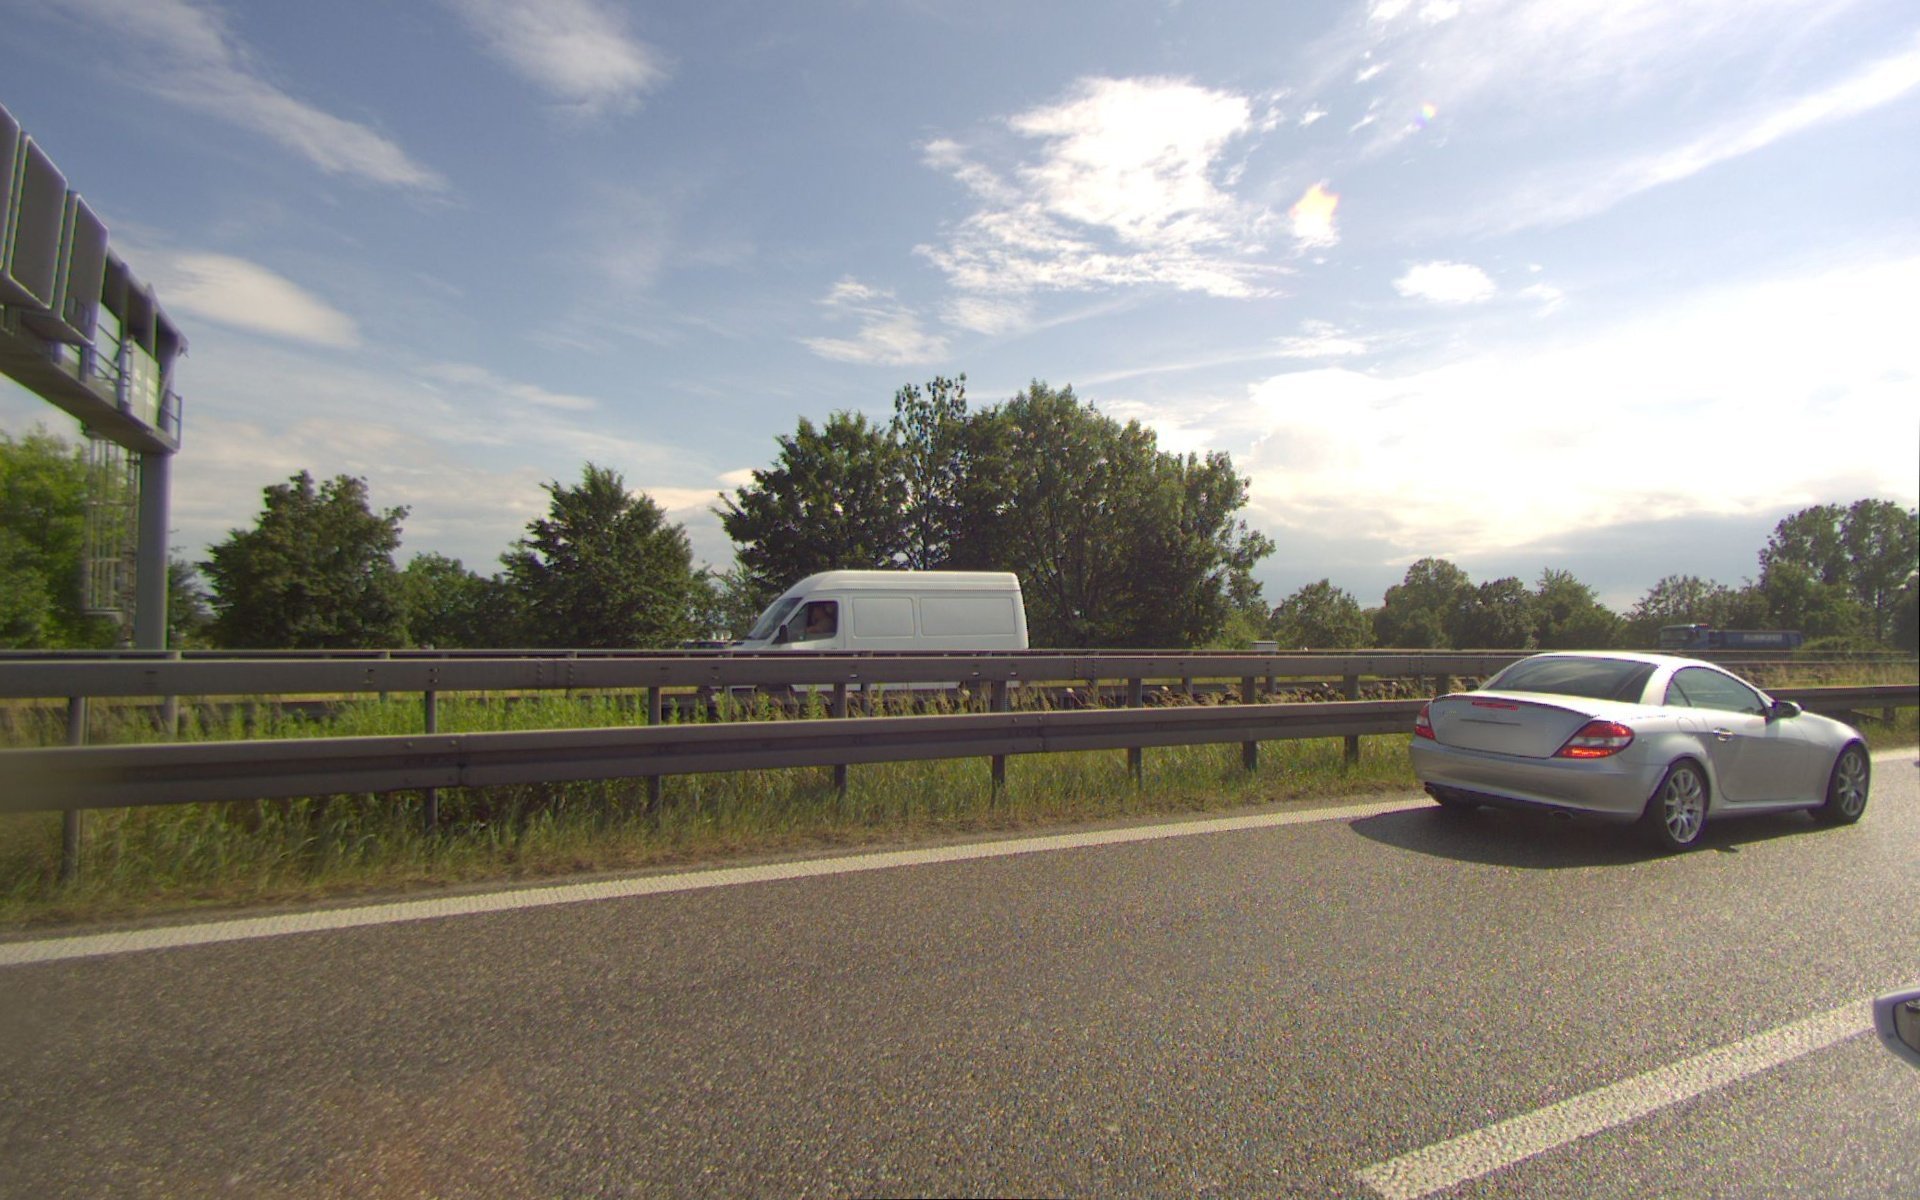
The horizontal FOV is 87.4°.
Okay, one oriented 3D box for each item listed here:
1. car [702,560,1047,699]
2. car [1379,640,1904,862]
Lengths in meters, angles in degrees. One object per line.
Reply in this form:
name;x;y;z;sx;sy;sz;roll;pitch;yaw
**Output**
car;-1.370;0.517;17.024;5.490;2.040;1.985;2;-2;-29
car;5.355;0.994;7.817;4.012;1.295;1.718;1;-1;-28
